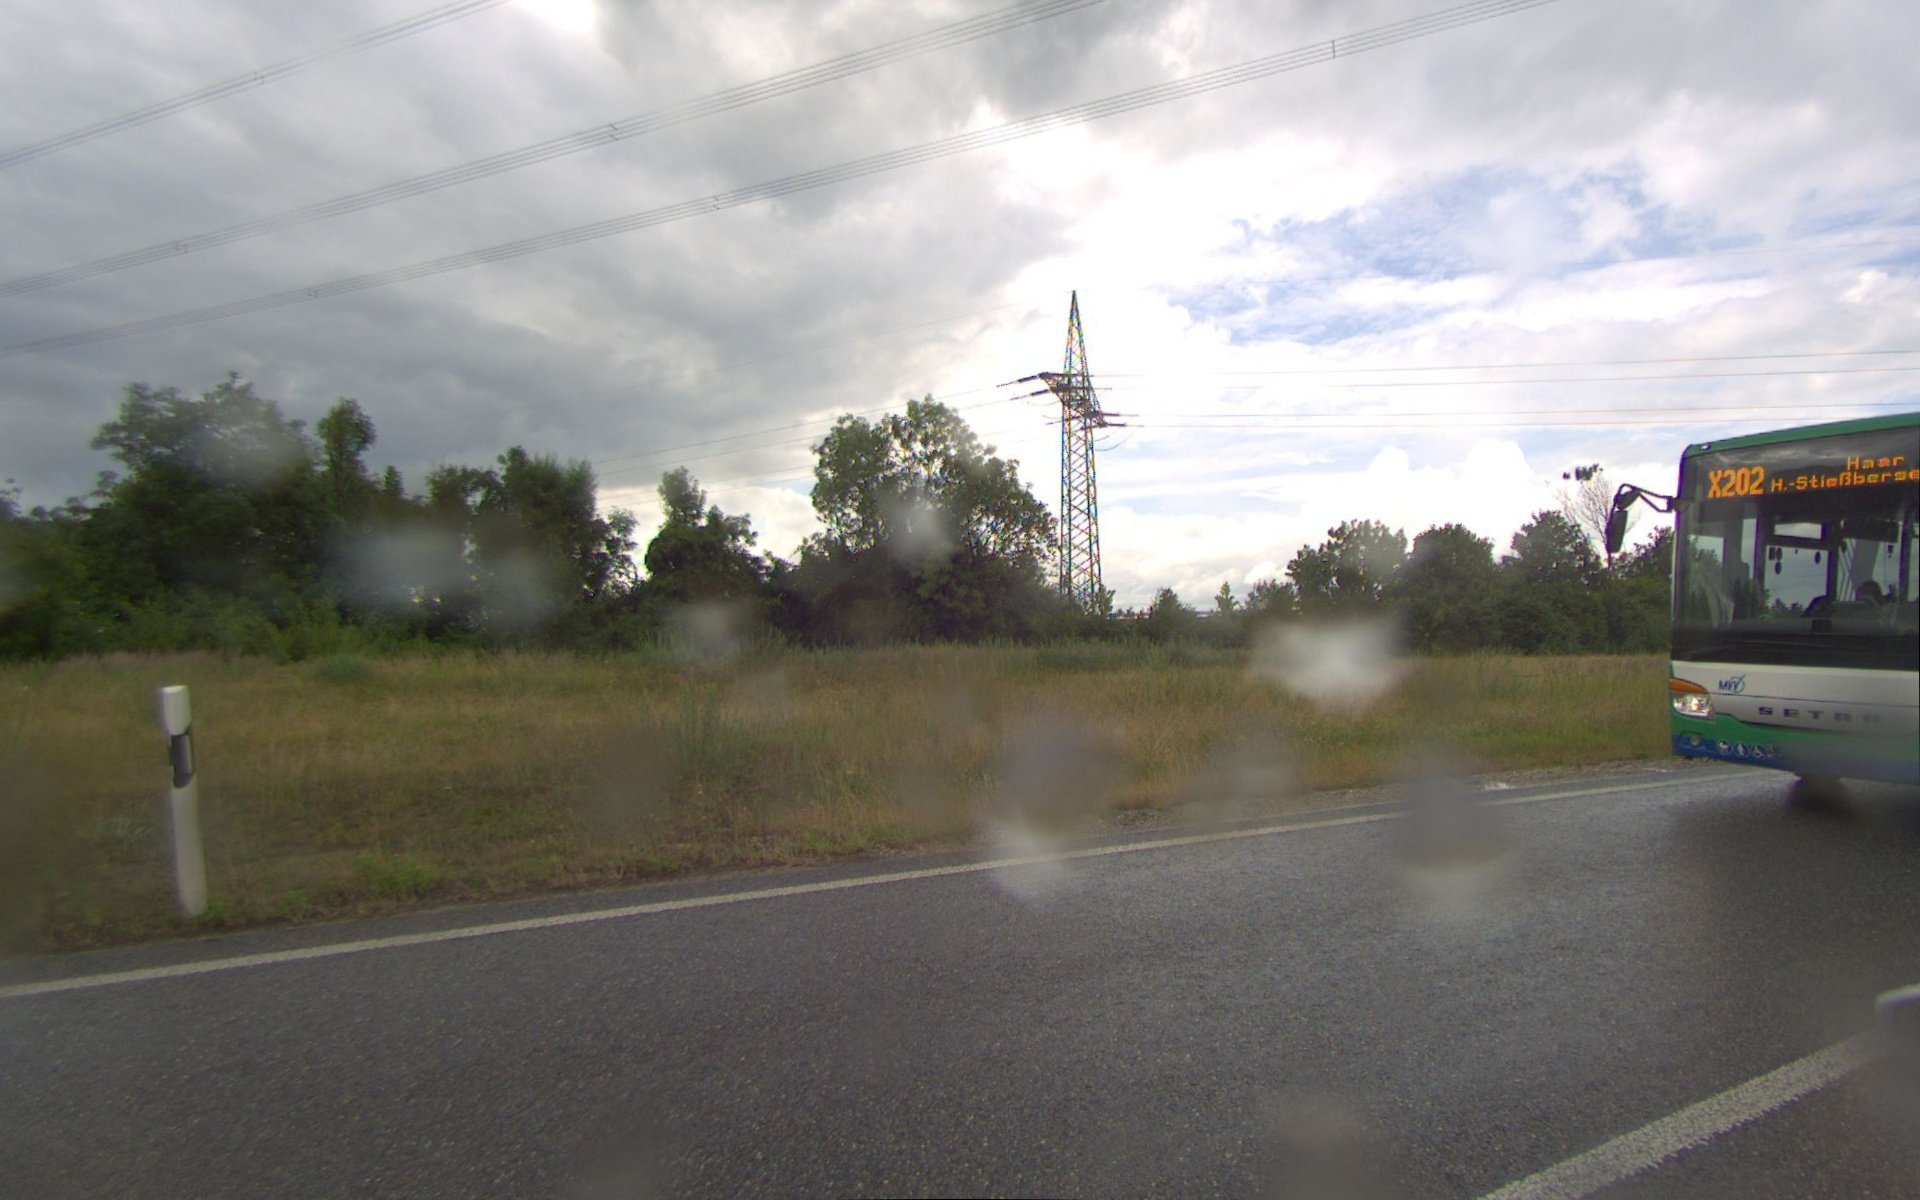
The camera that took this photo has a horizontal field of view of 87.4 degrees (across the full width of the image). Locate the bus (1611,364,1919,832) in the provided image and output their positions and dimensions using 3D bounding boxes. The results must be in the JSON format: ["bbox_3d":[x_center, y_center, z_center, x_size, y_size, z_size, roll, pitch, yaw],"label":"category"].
[{"bbox_3d":[12.000,0.114,10.675,12.340,3.341,2.748,1,-1,-27],"label":"bus"}]
